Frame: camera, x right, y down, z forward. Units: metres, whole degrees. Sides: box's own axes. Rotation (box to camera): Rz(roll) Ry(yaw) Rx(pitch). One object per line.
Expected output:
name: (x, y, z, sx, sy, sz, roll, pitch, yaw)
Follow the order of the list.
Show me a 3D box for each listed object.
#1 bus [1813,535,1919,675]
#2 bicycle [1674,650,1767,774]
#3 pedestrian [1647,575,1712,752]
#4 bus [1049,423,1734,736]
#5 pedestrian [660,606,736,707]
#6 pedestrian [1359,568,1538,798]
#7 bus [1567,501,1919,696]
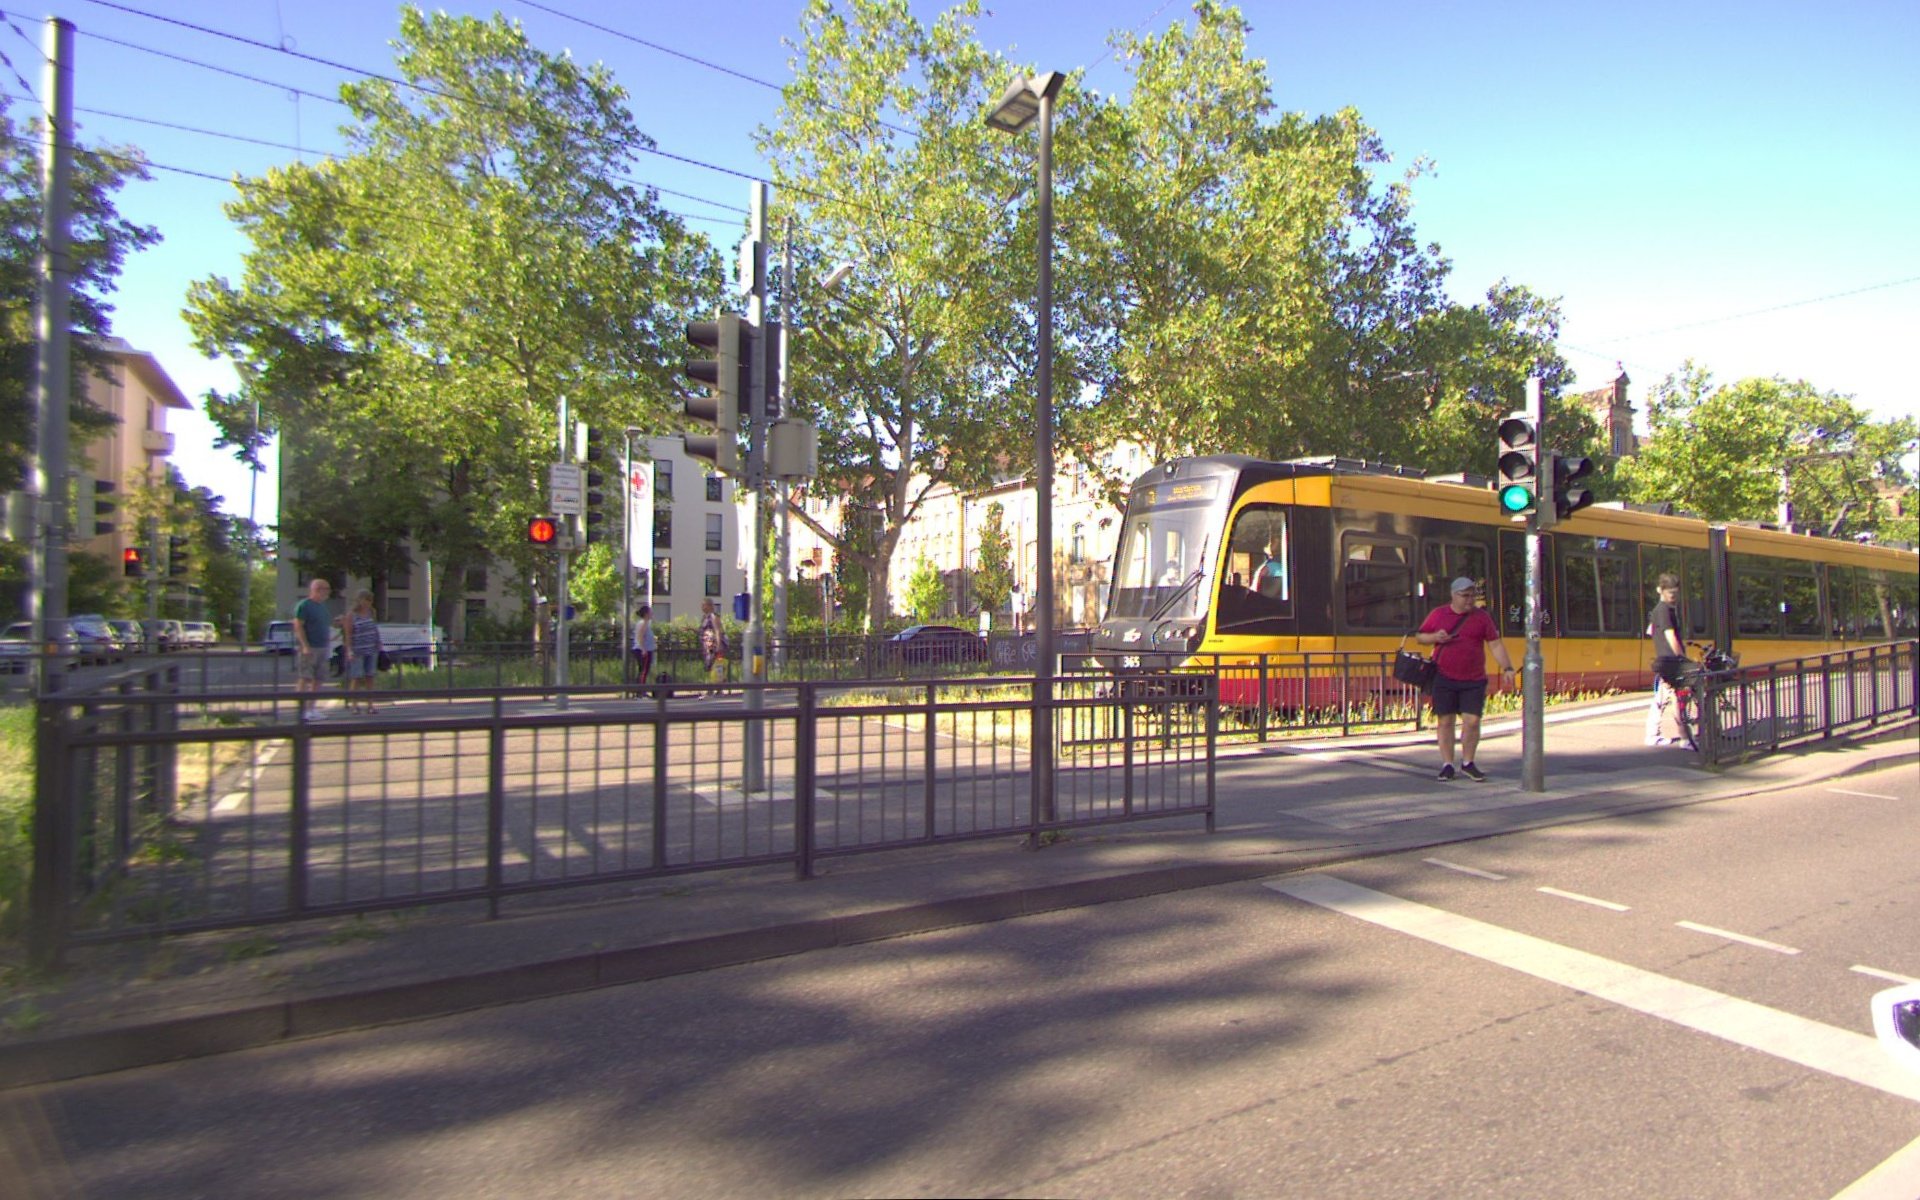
bus: (28.376, 0.224, 28.493, 11.477, 3.489, 2.855, 1, -1, -31)
bicycle: (8.296, 1.172, 10.931, 1.812, 1.230, 0.326, 1, -1, -37)
pedestrian: (8.098, 0.701, 11.305, 0.579, 1.928, 0.447, 1, -1, -38)
bus: (7.512, -0.104, 15.807, 13.064, 3.489, 2.855, 1, -1, -31)
pedestrian: (-4.510, 0.937, 17.287, 0.885, 1.665, 1.168, 1, -1, -38)
pedestrian: (4.480, 0.716, 9.232, 1.114, 1.941, 1.066, 1, -1, -33)
bus: (18.234, 0.093, 22.336, 12.074, 3.489, 2.855, 1, -1, -31)
